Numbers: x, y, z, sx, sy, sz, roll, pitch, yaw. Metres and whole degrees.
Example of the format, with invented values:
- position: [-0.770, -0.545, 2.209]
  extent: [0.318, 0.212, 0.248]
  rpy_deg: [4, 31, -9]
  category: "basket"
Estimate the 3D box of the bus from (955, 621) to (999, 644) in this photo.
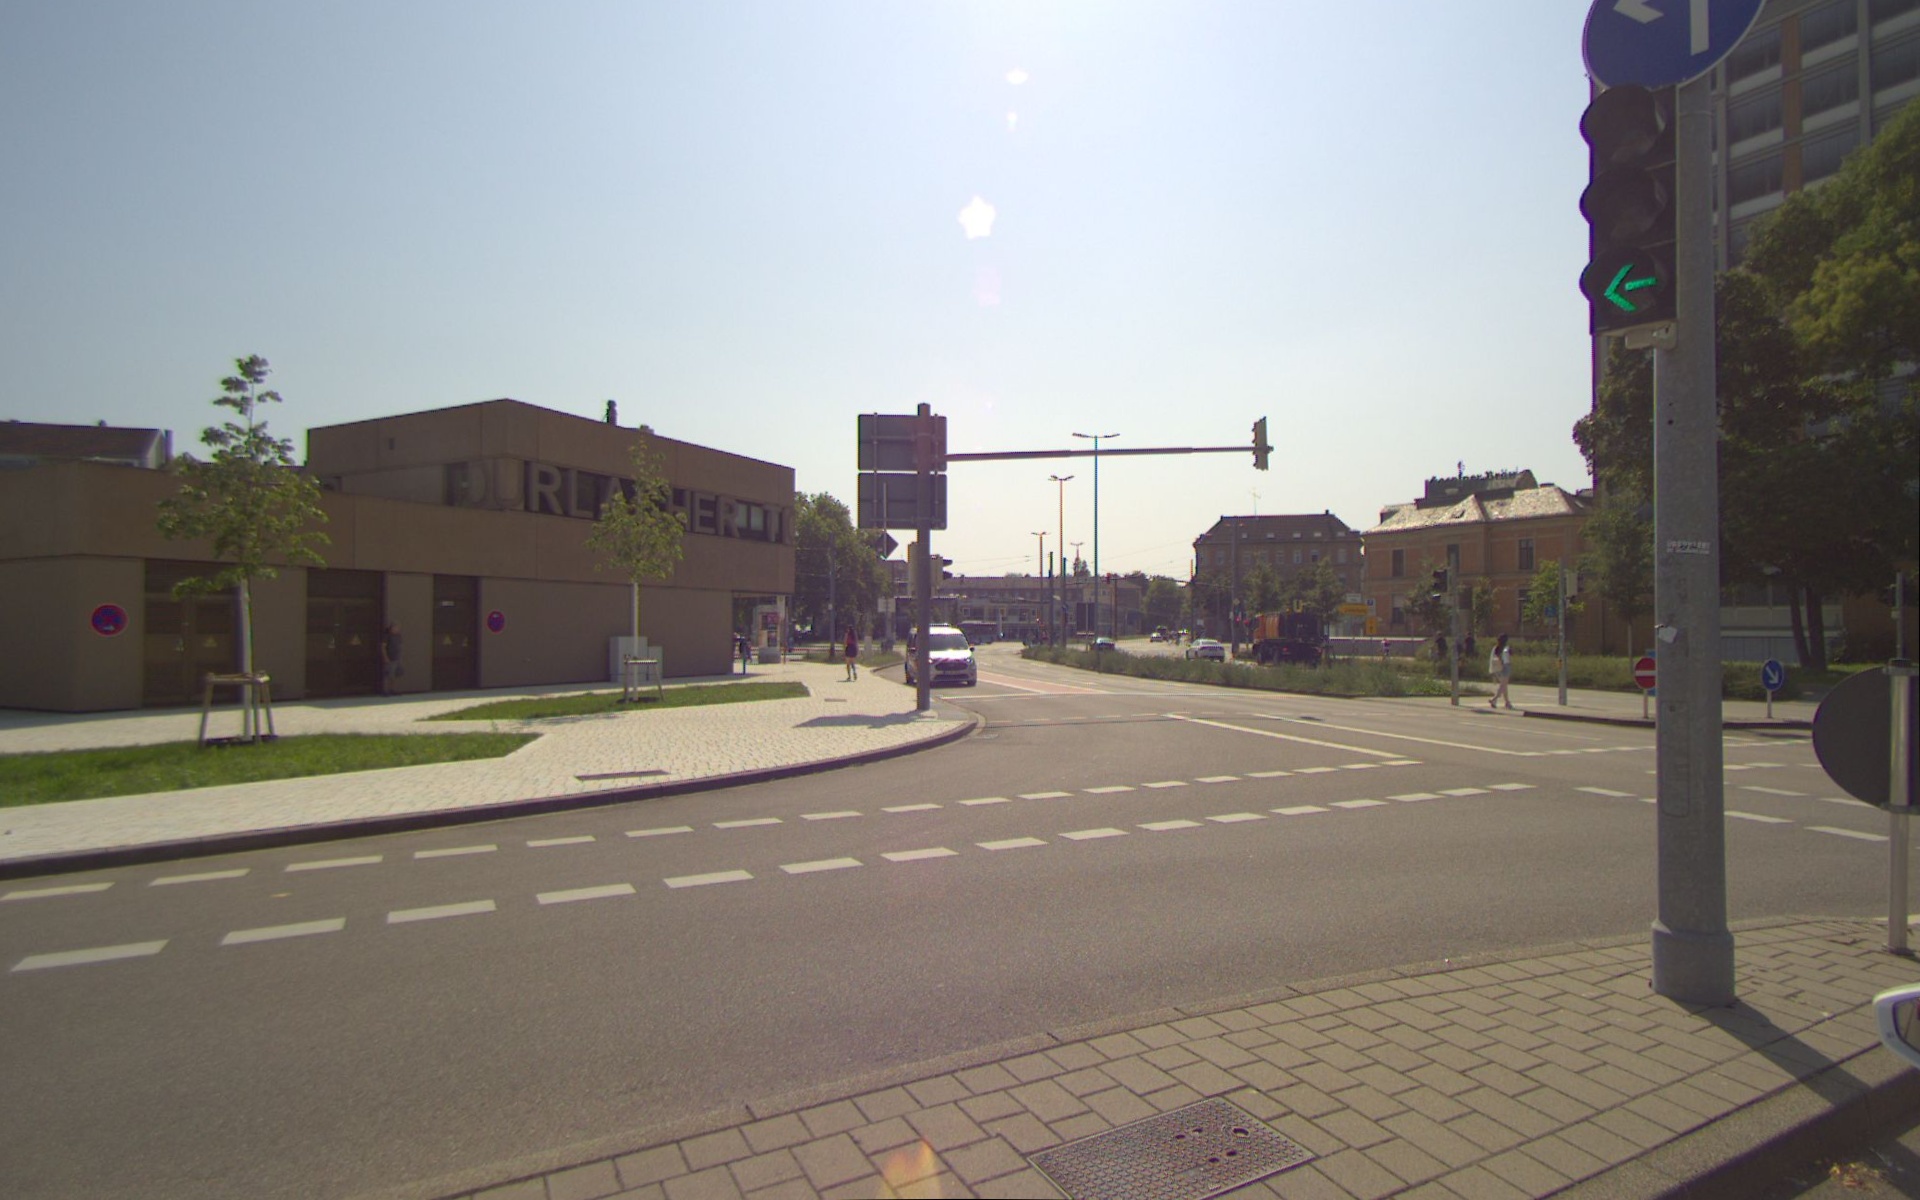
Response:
- position: [2.423, 4.402, 136.233]
  extent: [3.002, 2.969, 11.858]
  rpy_deg: [0, -2, 17]
  category: "bus"

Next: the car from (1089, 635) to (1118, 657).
- position: [10.110, 3.218, 70.968]
  extent: [1.728, 1.423, 3.983]
  rpy_deg: [1, -2, 4]
  category: "car"

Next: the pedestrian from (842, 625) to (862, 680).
- position: [-3.421, 1.649, 31.748]
  extent: [0.616, 1.725, 0.787]
  rpy_deg: [0, -1, -6]
  category: "pedestrian"

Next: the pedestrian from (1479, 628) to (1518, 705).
- position: [12.299, 1.509, 22.947]
  extent: [0.599, 1.717, 0.696]
  rpy_deg: [-2, -2, 44]
  category: "pedestrian"

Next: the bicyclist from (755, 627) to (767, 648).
- position: [-15.478, 2.906, 78.217]
  extent: [0.828, 1.664, 0.604]
  rpy_deg: [0, -1, -18]
  category: "bicyclist"

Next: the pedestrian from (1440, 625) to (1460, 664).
- position: [25.133, 2.287, 51.490]
  extent: [0.764, 1.999, 0.754]
  rpy_deg: [0, -1, 15]
  category: "pedestrian"

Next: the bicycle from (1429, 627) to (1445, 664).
- position: [24.412, 2.324, 51.429]
  extent: [0.447, 1.885, 1.364]
  rpy_deg: [0, -1, 12]
  category: "bicycle"

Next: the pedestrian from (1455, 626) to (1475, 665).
- position: [26.230, 2.348, 52.170]
  extent: [0.764, 1.999, 0.754]
  rpy_deg: [0, -1, 15]
  category: "pedestrian"

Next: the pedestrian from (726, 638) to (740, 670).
- position: [-12.424, 2.936, 54.934]
  extent: [0.634, 1.725, 0.809]
  rpy_deg: [0, -2, -4]
  category: "pedestrian"

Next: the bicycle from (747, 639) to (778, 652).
- position: [-15.386, 3.520, 78.228]
  extent: [2.378, 0.966, 0.601]
  rpy_deg: [0, -2, -18]
  category: "bicycle"

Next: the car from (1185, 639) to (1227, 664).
- position: [16.010, 3.326, 65.606]
  extent: [1.728, 1.474, 4.427]
  rpy_deg: [1, -2, 1]
  category: "car"

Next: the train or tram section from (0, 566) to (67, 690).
- position: [-30.494, 0.851, 27.689]
  extent: [3.087, 3.617, 8.235]
  rpy_deg: [-2, -1, 26]
  category: "train or tram section"

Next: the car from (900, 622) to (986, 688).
- position: [-0.616, 1.691, 31.908]
  extent: [1.964, 1.884, 4.326]
  rpy_deg: [-2, -1, -11]
  category: "car"

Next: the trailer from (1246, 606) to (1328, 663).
- position: [18.828, 1.972, 58.173]
  extent: [2.423, 3.047, 6.324]
  rpy_deg: [2, -2, -2]
  category: "trailer"

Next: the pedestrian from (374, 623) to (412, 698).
- position: [-13.002, 1.379, 23.037]
  extent: [0.558, 1.700, 0.535]
  rpy_deg: [-1, -1, 26]
  category: "pedestrian"
